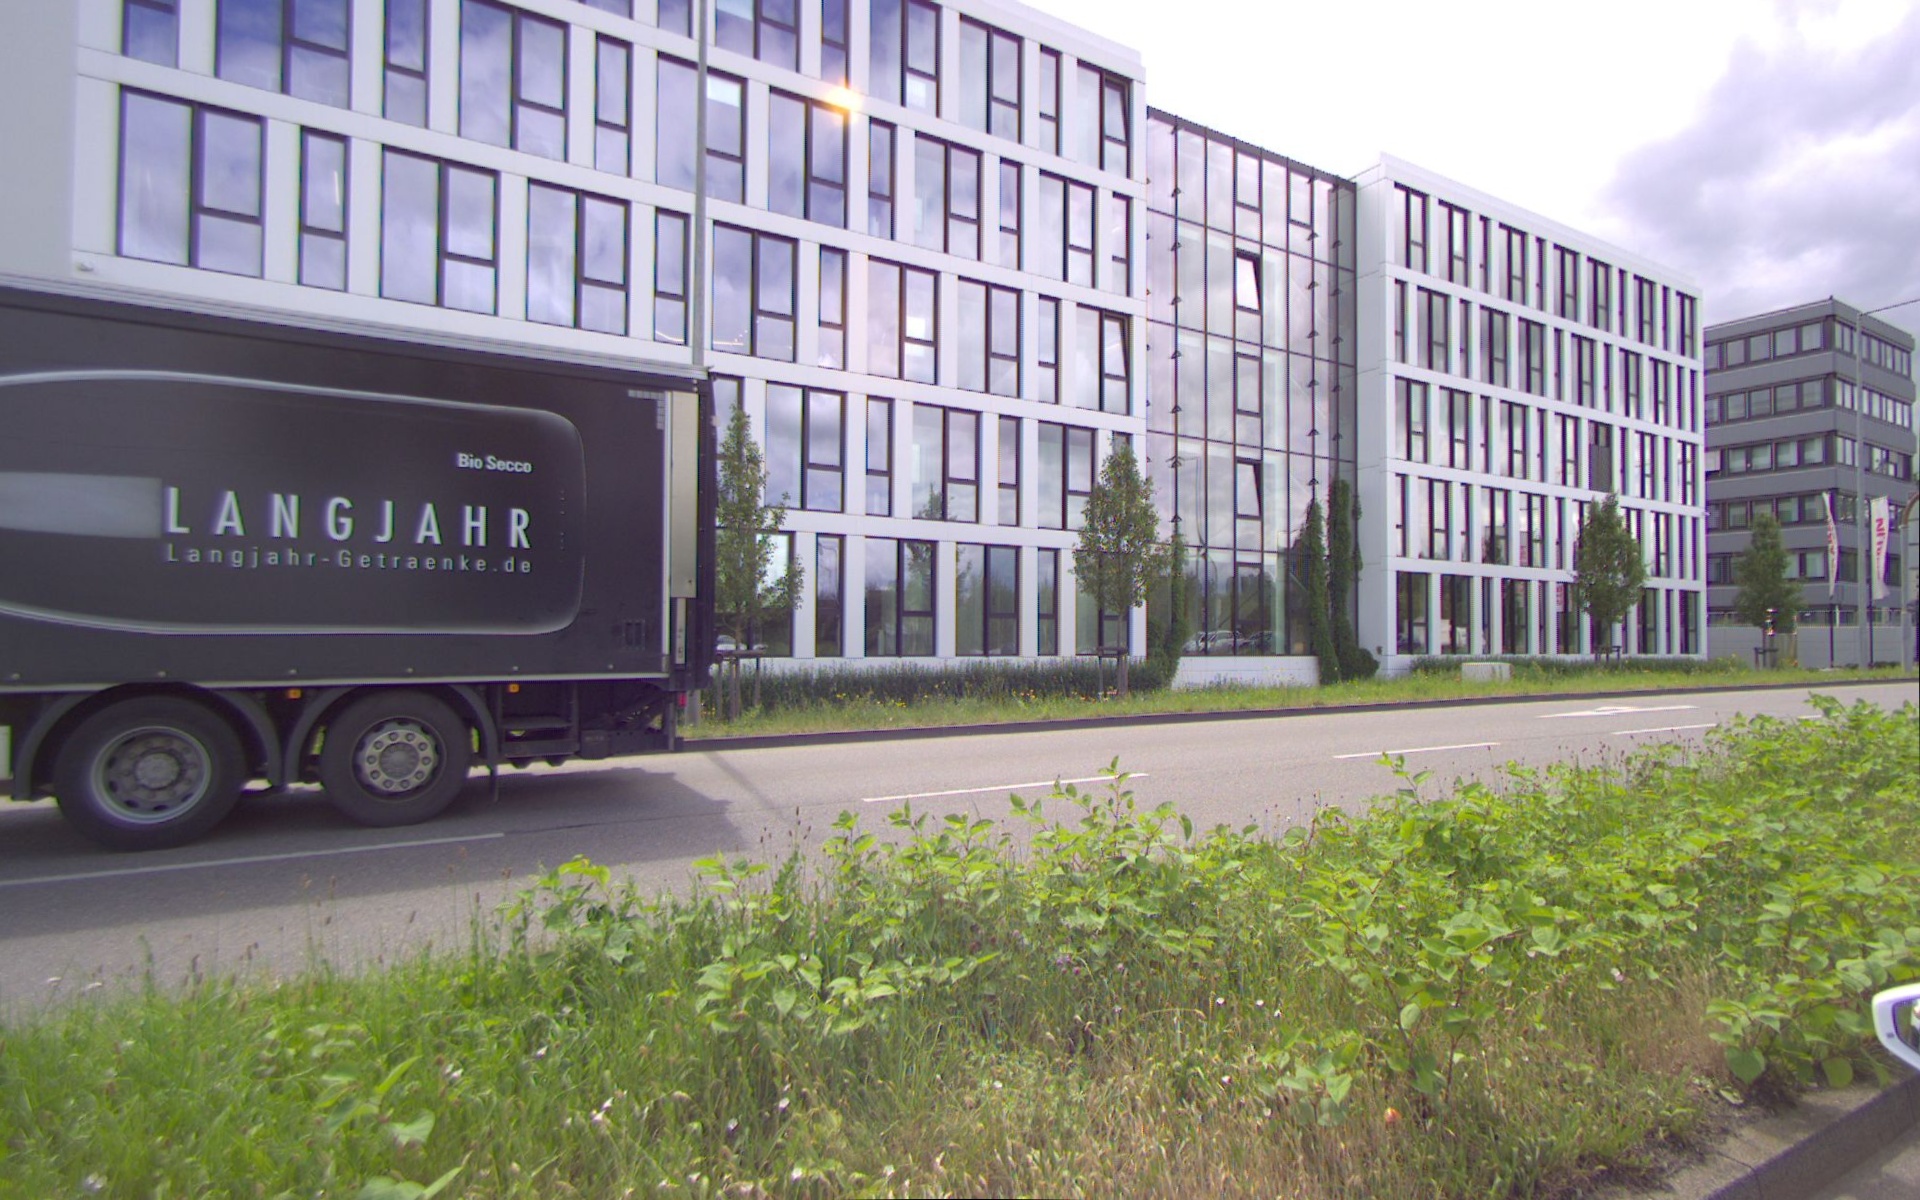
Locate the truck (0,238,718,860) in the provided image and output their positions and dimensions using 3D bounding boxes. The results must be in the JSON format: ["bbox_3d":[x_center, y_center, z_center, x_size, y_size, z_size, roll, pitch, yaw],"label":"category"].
[{"bbox_3d":[-6.732,-0.282,6.844,9.419,3.564,3.151,1,-1,-32],"label":"truck"}]
